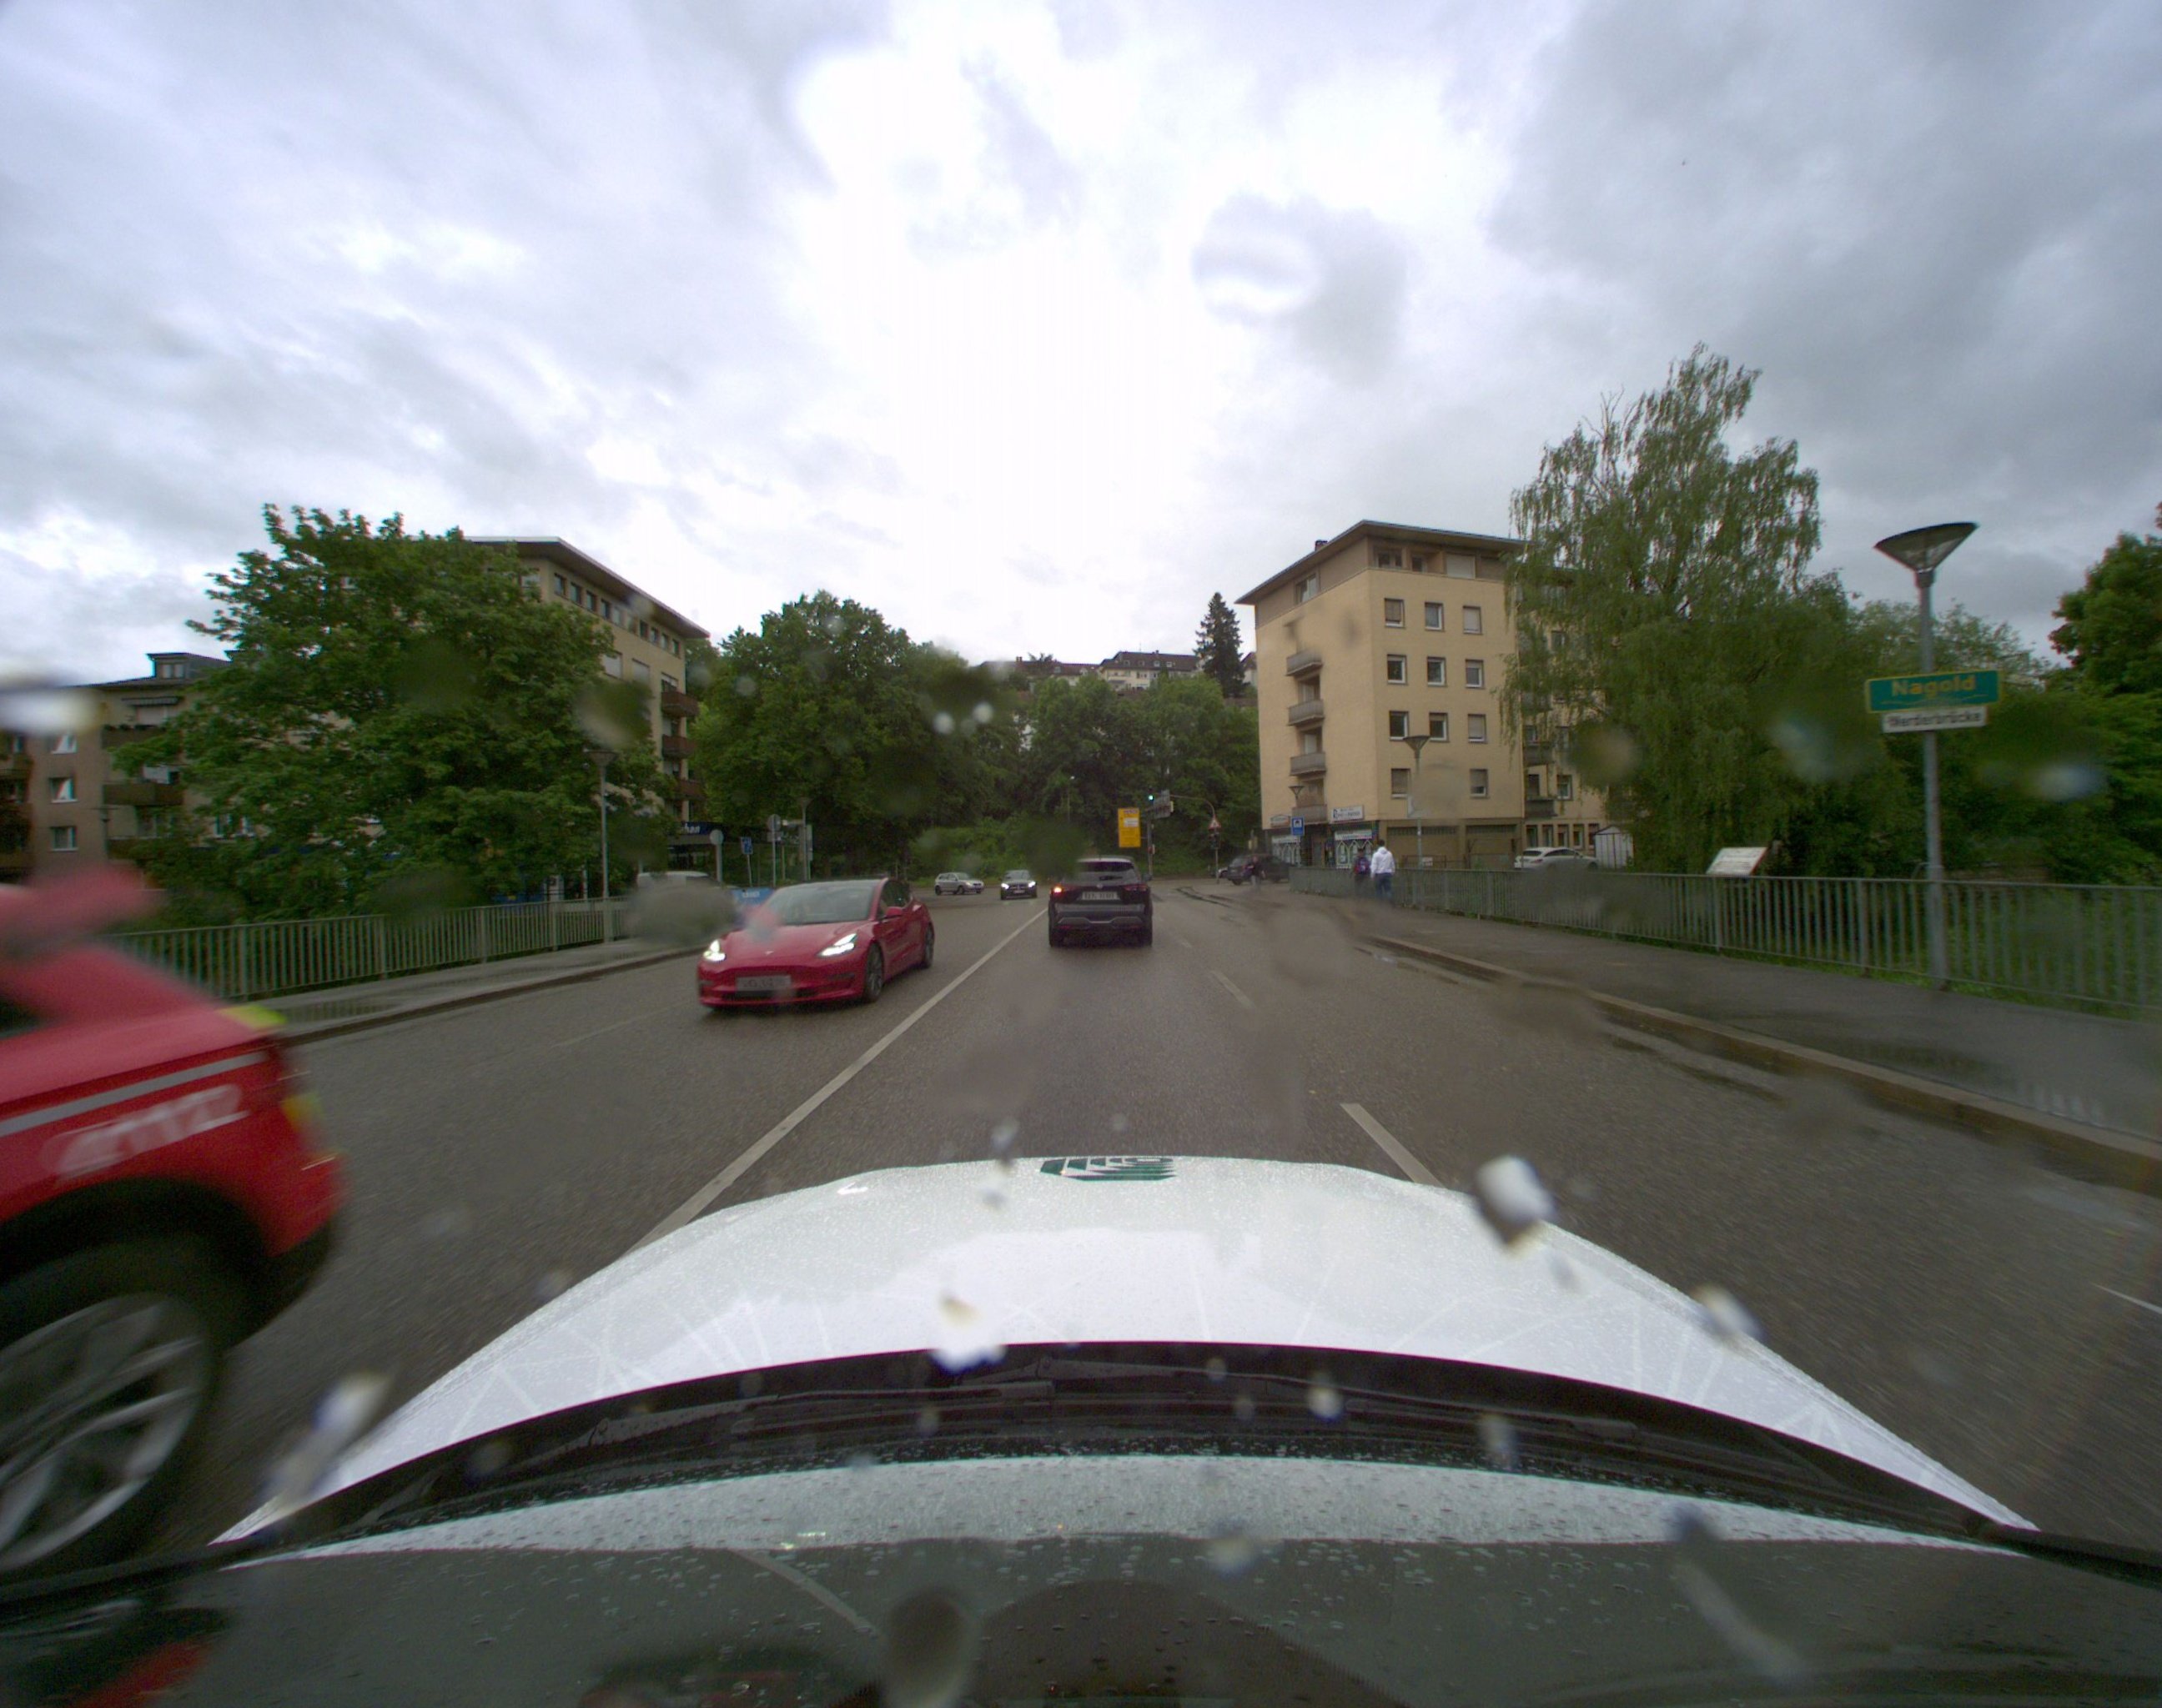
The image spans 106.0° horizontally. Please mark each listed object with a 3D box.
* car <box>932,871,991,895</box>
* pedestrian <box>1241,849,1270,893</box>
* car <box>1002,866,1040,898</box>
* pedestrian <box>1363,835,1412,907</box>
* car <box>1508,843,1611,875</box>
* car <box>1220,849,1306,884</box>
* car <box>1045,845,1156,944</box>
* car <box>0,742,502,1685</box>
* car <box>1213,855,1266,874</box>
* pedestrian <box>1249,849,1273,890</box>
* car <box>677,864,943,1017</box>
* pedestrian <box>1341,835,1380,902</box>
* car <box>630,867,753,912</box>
[{"bbox_3d":[-7.932,1.952,53.950,3.638,1.420,1.642,-3,-1,33],"label":"car"},{"bbox_3d":[6.740,0.658,31.475,0.859,1.619,0.840,-3,-1,1],"label":"pedestrian"},{"bbox_3d":[-2.992,1.379,40.798,1.706,1.416,4.088,-3,-1,-4],"label":"car"},{"bbox_3d":[7.676,0.421,20.455,0.777,1.752,1.061,-2,-1,1],"label":"pedestrian"},{"bbox_3d":[23.745,0.220,40.437,4.447,1.376,1.808,-2,2,-15],"label":"car"},{"bbox_3d":[10.168,0.701,45.529,4.388,1.649,1.868,-3,-1,-25],"label":"car"},{"bbox_3d":[0.373,0.716,15.557,1.804,1.603,4.001,-2,-1,1],"label":"car"},{"bbox_3d":[-2.990,0.701,0.559,1.881,1.735,4.373,-3,0,2],"label":"car"},{"bbox_3d":[14.356,0.950,73.978,4.325,1.502,1.877,-3,-1,-10],"label":"car"},{"bbox_3d":[7.792,0.661,35.288,0.758,1.677,0.781,-4,0,1],"label":"pedestrian"},{"bbox_3d":[-3.108,0.903,10.365,1.775,1.402,4.220,-3,0,2],"label":"car"},{"bbox_3d":[7.868,0.401,22.986,0.758,1.809,0.781,-3,0,1],"label":"pedestrian"},{"bbox_3d":[-18.165,1.621,38.184,4.738,1.854,1.995,-2,1,-8],"label":"car"}]
